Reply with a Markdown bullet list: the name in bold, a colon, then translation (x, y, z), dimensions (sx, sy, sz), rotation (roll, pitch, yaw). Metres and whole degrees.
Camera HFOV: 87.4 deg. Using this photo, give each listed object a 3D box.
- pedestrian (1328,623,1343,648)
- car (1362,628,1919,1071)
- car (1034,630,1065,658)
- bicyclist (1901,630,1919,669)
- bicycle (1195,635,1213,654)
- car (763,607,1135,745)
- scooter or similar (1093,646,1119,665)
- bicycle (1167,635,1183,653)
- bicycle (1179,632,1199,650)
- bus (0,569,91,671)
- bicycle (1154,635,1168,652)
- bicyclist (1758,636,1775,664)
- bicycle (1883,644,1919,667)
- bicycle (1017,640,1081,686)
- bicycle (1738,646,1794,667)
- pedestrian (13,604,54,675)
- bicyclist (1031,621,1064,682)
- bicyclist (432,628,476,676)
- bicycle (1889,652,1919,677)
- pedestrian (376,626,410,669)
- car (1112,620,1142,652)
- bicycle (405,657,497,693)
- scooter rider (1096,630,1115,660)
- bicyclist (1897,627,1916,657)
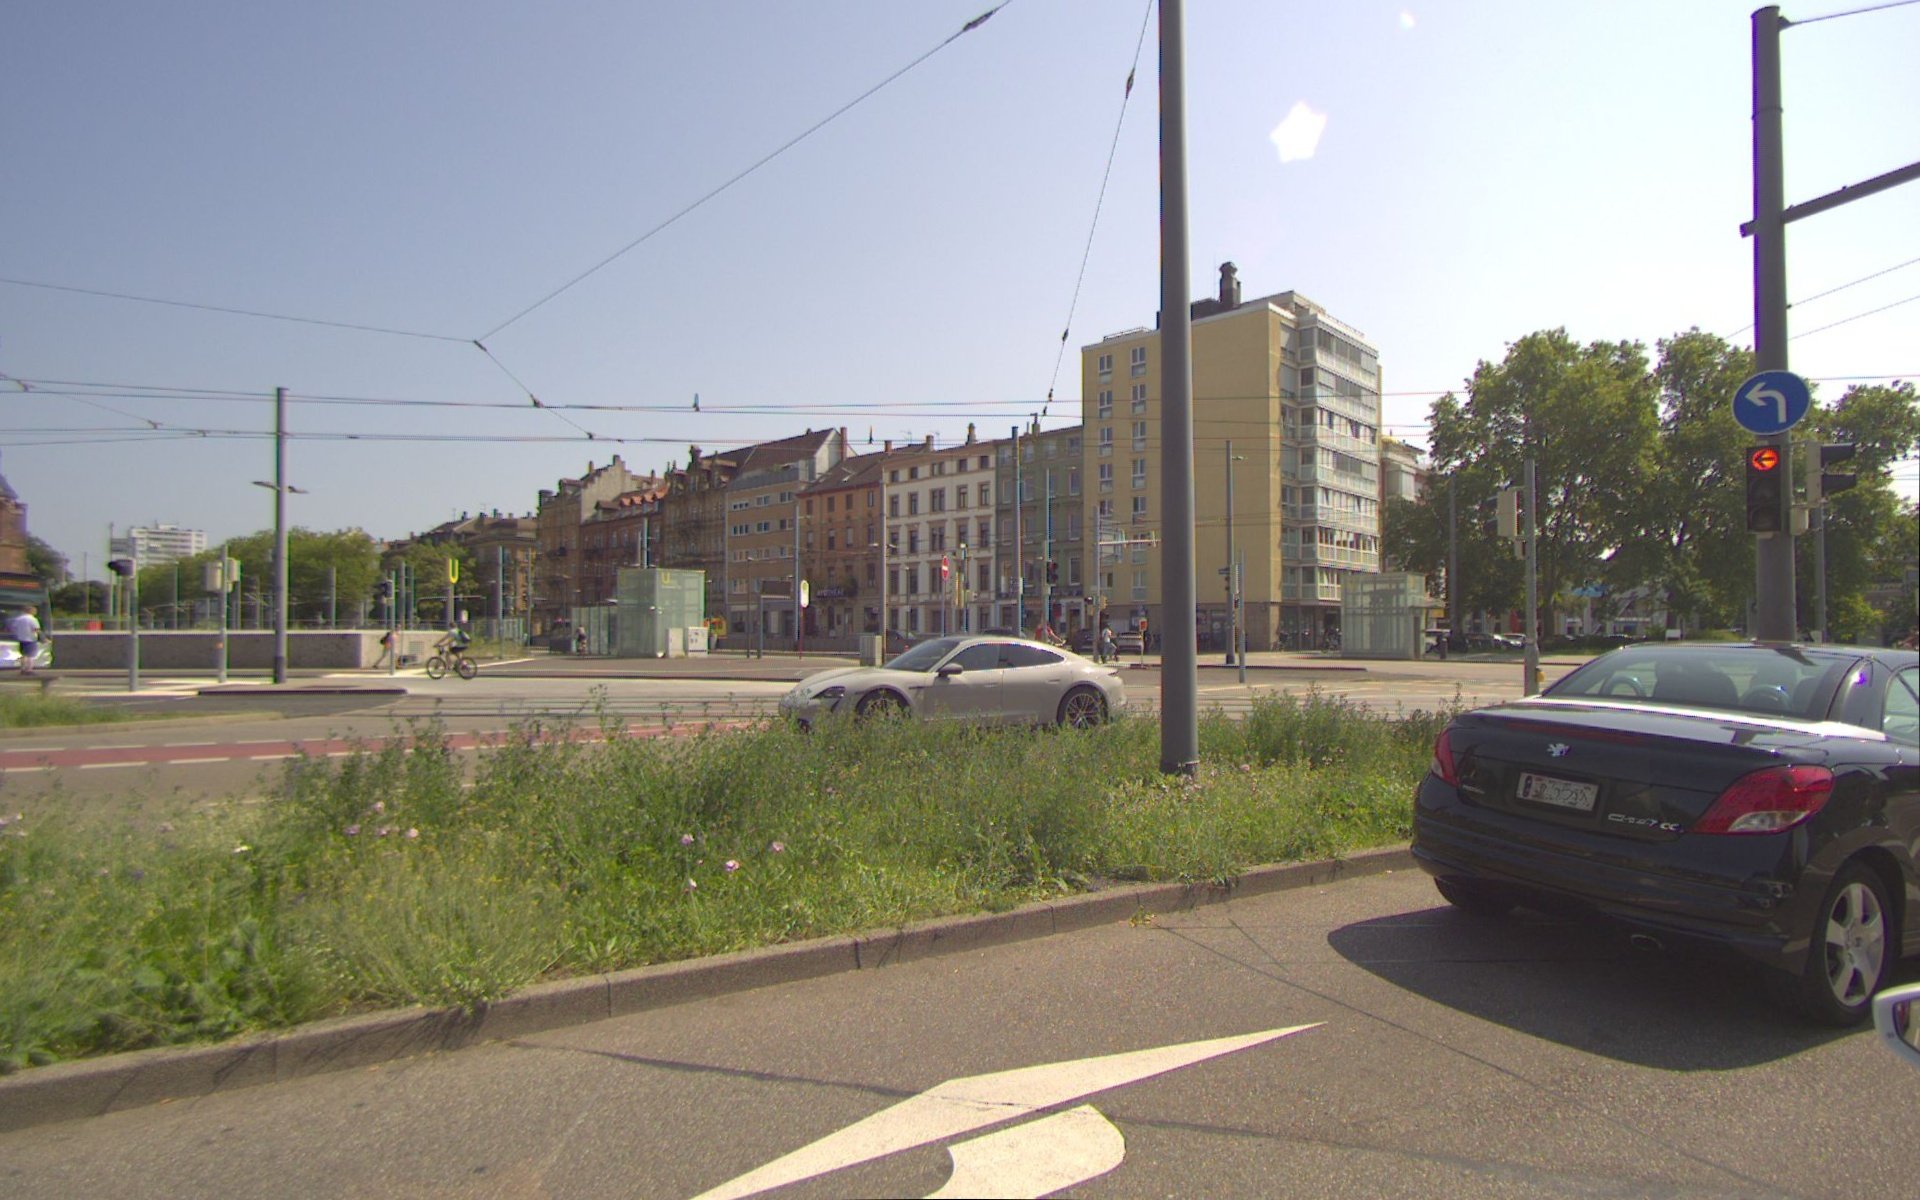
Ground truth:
- **pedestrian**: translation (23.617, 2.226, 63.218), dimensions (0.842, 1.563, 0.743), rotation (0, -2, 24)
- **car**: translation (4.018, 0.877, 4.931), dimensions (3.731, 1.406, 1.760), rotation (1, 0, -26)
- **car**: translation (6.078, 2.941, 67.966), dimensions (1.767, 1.843, 4.003), rotation (0, -2, 10)
- **bicyclist**: translation (37.879, 1.937, 39.684), dimensions (0.553, 1.528, 0.904), rotation (1, -2, -35)
- **bicycle**: translation (16.554, 3.027, 68.223), dimensions (0.680, 1.220, 3.265), rotation (0, -2, 5)
- **car**: translation (-0.124, 0.936, 13.594), dimensions (4.652, 1.606, 1.987), rotation (1, -2, -26)
- **scooter or similar**: translation (6.618, 2.498, 45.649), dimensions (1.132, 0.835, 0.517), rotation (1, -2, -35)
- **bicycle**: translation (14.942, 3.058, 69.972), dimensions (0.680, 1.220, 3.265), rotation (0, -2, 5)
- **bicycle**: translation (15.728, 2.806, 69.101), dimensions (0.892, 1.220, 3.265), rotation (0, -2, 5)
- **bus**: translation (-31.840, 0.551, 27.927), dimensions (12.102, 2.748, 3.405), rotation (0, -1, -2)
- **bicycle**: translation (14.118, 3.052, 70.670), dimensions (0.680, 1.220, 2.793), rotation (0, -2, 5)
- **bicyclist**: translation (37.847, 2.332, 47.131), dimensions (0.555, 1.310, 0.540), rotation (1, -2, -41)
- **bicycle**: translation (41.616, 2.422, 43.916), dimensions (0.413, 0.954, 1.798), rotation (1, -2, -41)
- **bicycle**: translation (2.260, 1.597, 25.685), dimensions (0.499, 1.108, 1.918), rotation (1, -2, -35)
- **bicycle**: translation (37.847, 2.633, 47.200), dimensions (0.464, 0.954, 2.014), rotation (1, -2, -41)
- **pedestrian**: translation (-24.602, 1.048, 26.674), dimensions (0.630, 1.835, 0.597), rotation (2, 0, -28)
- **bicyclist**: translation (2.255, 1.317, 25.838), dimensions (0.632, 1.529, 0.553), rotation (1, -1, -36)
- **bicyclist**: translation (-15.612, 1.597, 31.030), dimensions (0.989, 1.446, 0.656), rotation (2, 0, -1)
- **bicycle**: translation (37.906, 2.545, 39.622), dimensions (0.562, 0.954, 1.802), rotation (1, -2, -35)
- **pedestrian**: translation (-20.716, 1.740, 36.708), dimensions (0.843, 1.563, 0.742), rotation (0, -1, -11)
- **car**: translation (10.547, 2.265, 63.200), dimensions (1.767, 1.951, 4.003), rotation (0, -2, 10)
- **bicycle**: translation (-15.707, 2.306, 31.050), dimensions (2.316, 1.056, 0.962), rotation (0, -2, -2)
- **scooter rider**: translation (6.633, 2.055, 45.784), dimensions (0.602, 1.371, 0.682), rotation (1, -1, -35)
- **bicyclist**: translation (41.453, 1.822, 44.002), dimensions (0.555, 1.310, 0.540), rotation (1, -2, -41)
